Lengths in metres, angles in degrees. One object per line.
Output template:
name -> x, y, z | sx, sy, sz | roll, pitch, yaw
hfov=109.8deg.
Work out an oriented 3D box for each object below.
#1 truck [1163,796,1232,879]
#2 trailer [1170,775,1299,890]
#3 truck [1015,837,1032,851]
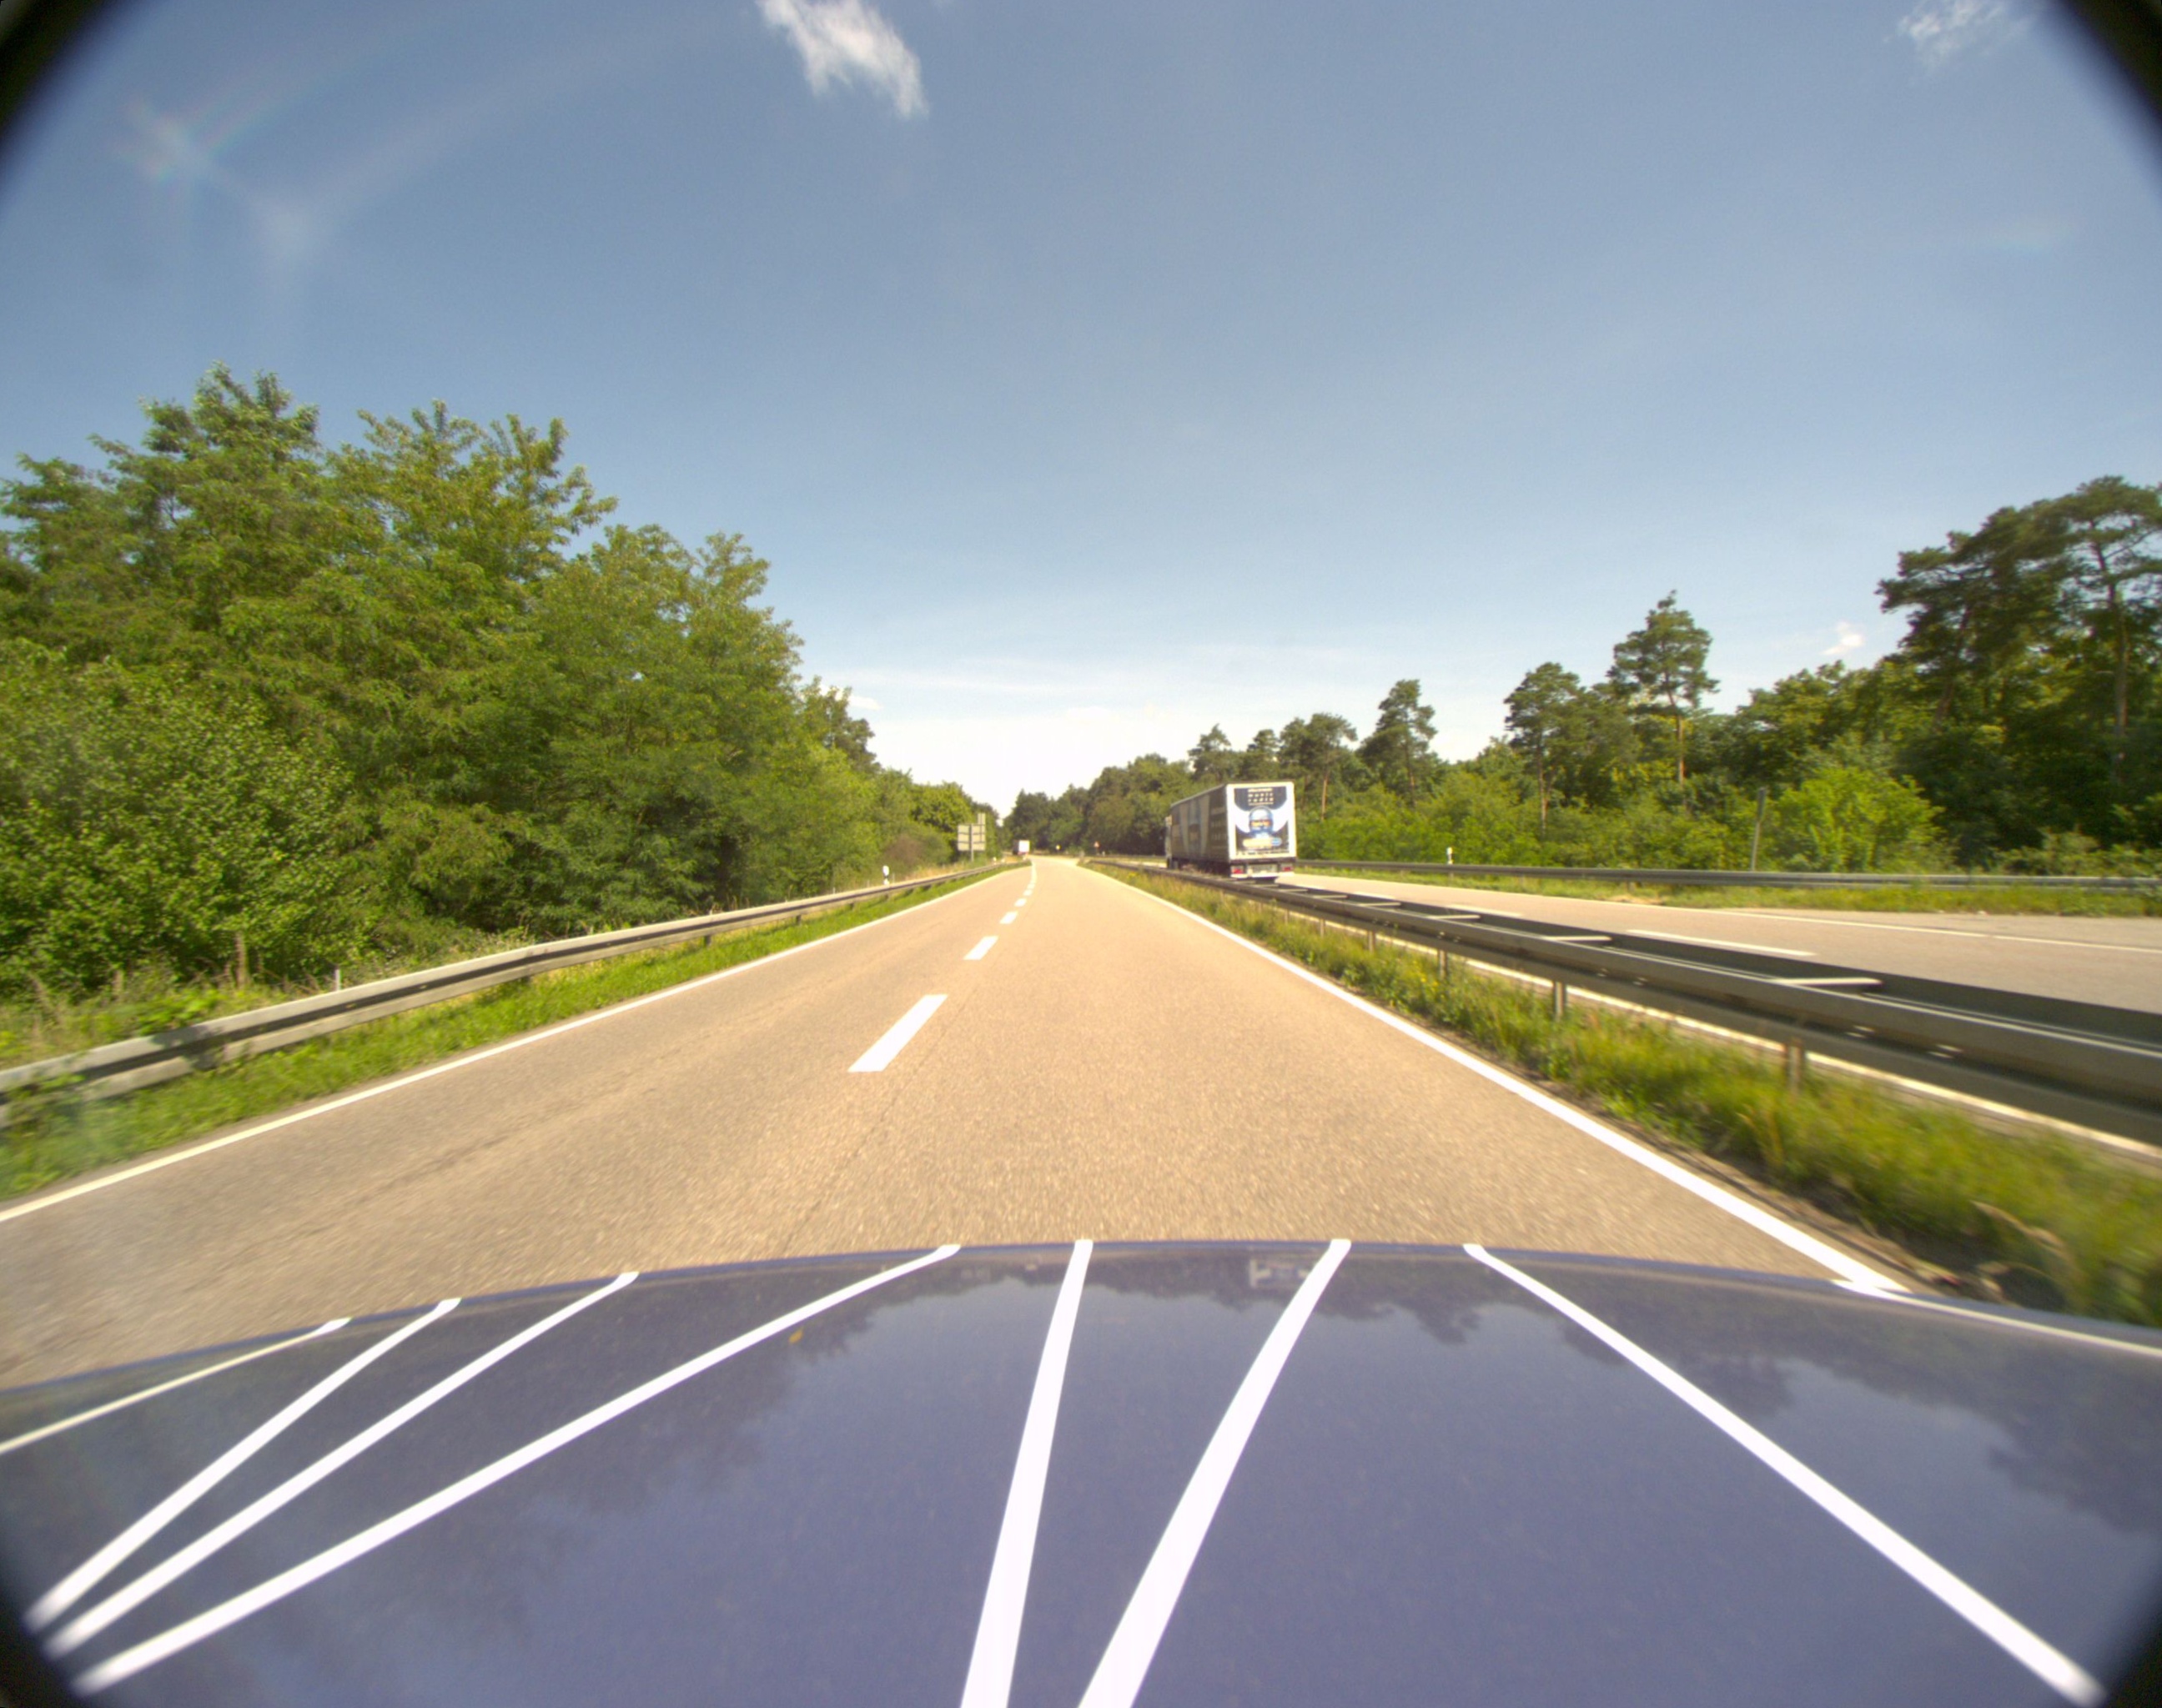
truck -> 6.306, -0.862, 41.931 | 2.675, 4.164, 5.713 | -2, 1, -2
trailer -> 6.502, -0.832, 35.204 | 2.675, 4.163, 14.059 | -2, 0, -2
truck -> -16.158, -2.725, 212.004 | 2.793, 3.854, 14.131 | -2, 1, -11
